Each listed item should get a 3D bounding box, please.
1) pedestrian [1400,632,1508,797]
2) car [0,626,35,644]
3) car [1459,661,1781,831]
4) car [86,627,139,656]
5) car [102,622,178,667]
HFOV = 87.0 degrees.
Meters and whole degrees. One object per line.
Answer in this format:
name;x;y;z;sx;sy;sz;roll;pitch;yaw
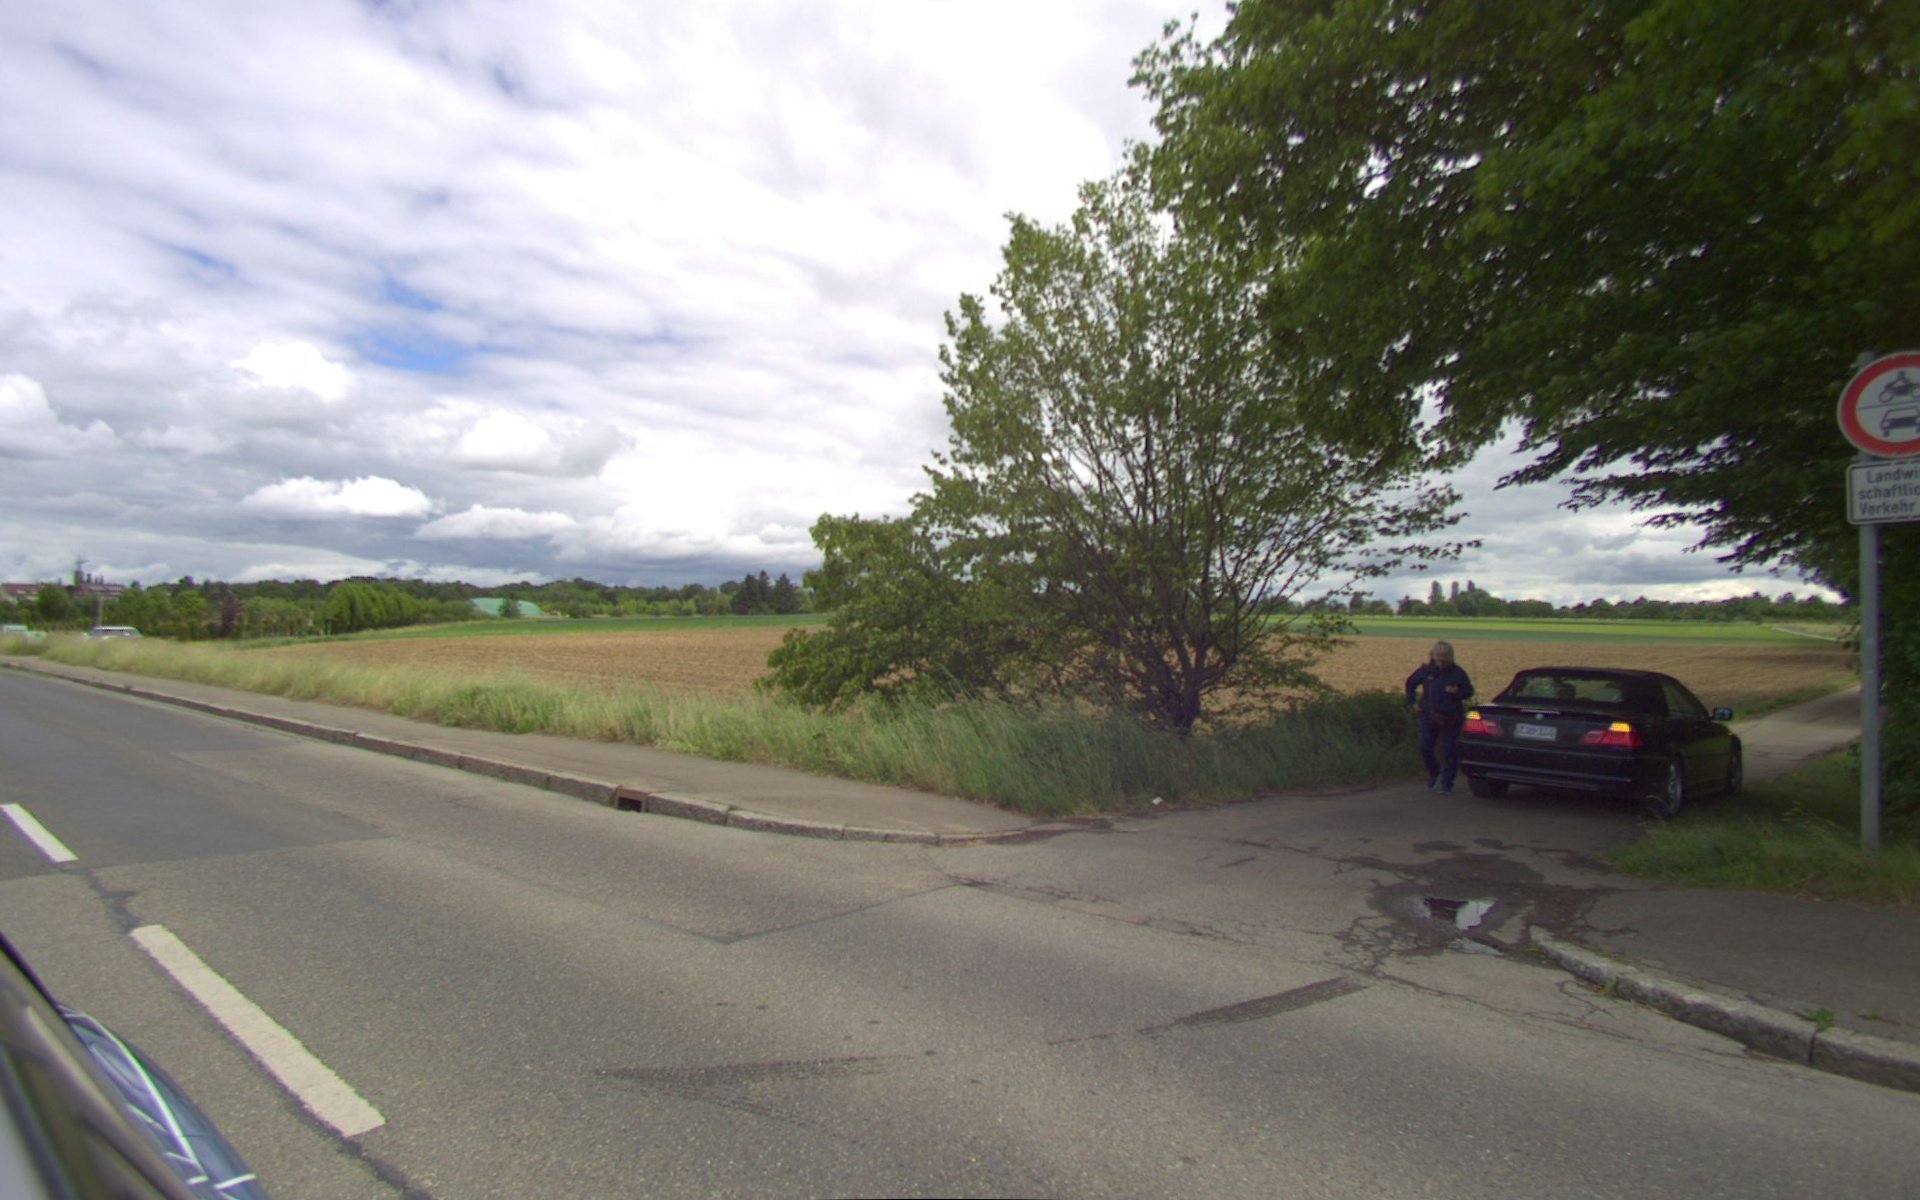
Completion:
pedestrian;5.099;1.151;10.458;0.696;1.606;0.708;1;-4;-39
car;-70.891;2.631;74.944;3.169;1.260;1.457;-1;0;-21
car;6.745;1.321;10.183;3.938;1.321;1.746;4;-4;-42
car;-40.842;1.977;48.753;3.598;1.260;1.433;-1;0;41
car;-29.128;1.552;35.922;3.867;1.459;1.453;-1;0;41
